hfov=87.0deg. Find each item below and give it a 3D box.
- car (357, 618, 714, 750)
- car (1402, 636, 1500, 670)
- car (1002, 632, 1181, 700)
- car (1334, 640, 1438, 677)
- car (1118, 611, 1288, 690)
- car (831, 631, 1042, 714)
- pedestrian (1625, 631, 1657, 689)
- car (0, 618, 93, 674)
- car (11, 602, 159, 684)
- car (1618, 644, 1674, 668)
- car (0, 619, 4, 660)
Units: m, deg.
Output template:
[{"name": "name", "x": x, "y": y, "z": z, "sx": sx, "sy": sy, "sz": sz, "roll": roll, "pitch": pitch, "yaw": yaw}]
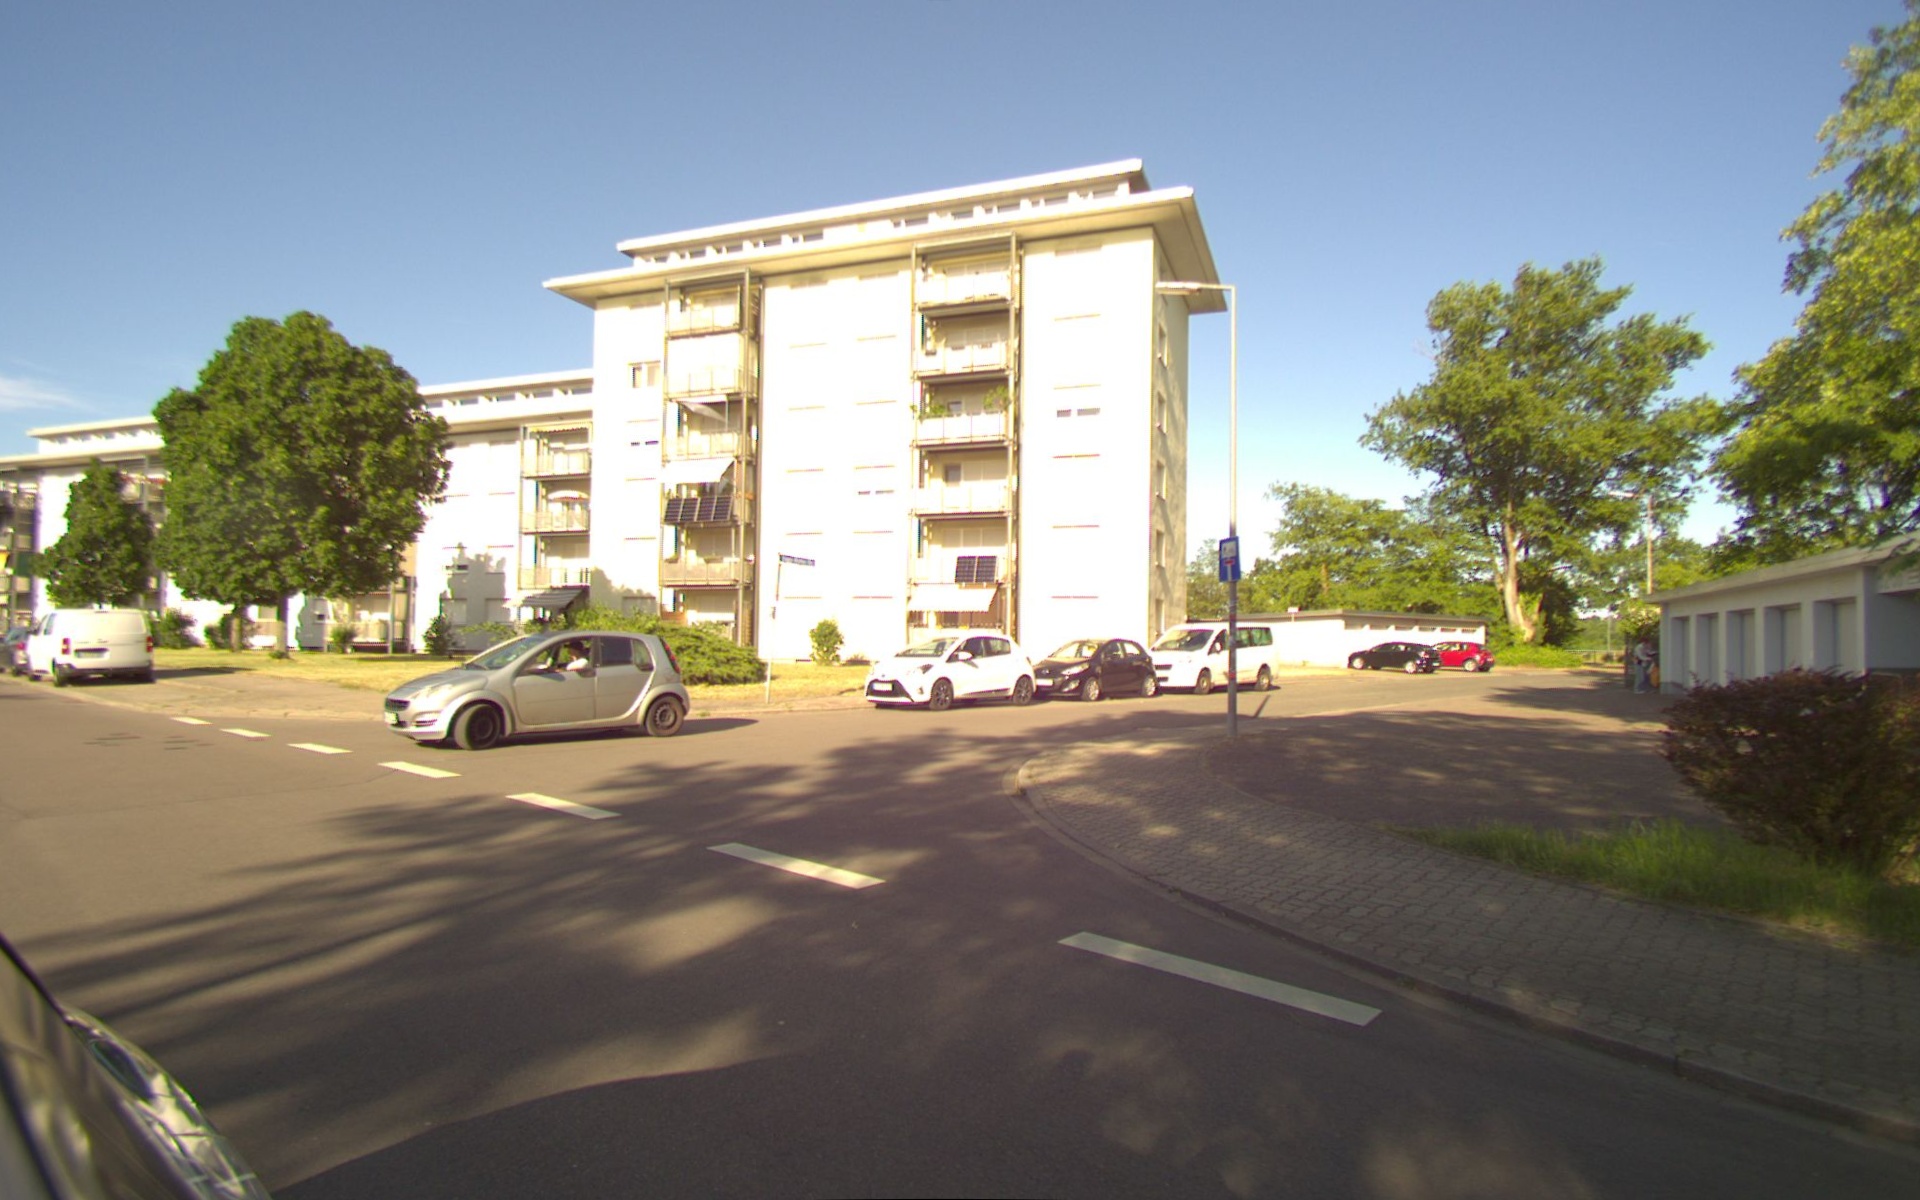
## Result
[{"name": "car", "x": -5.506, "y": 1.028, "z": 13.406, "sx": 3.883, "sy": 1.472, "sz": 1.999, "roll": 3, "pitch": -3, "yaw": -45}, {"name": "car", "x": 24.277, "y": 2.609, "z": 50.119, "sx": 3.998, "sy": 1.608, "sz": 1.973, "roll": -1, "pitch": -3, "yaw": 41}, {"name": "car", "x": 3.238, "y": 1.559, "z": 24.255, "sx": 2.044, "sy": 1.472, "sz": 4.392, "roll": -2, "pitch": -4, "yaw": 44}, {"name": "car", "x": 19.479, "y": 2.641, "z": 46.357, "sx": 3.998, "sy": 1.608, "sz": 1.973, "roll": -2, "pitch": -4, "yaw": 41}, {"name": "car", "x": 6.788, "y": 1.398, "z": 27.912, "sx": 5.046, "sy": 1.966, "sz": 2.238, "roll": 4, "pitch": -4, "yaw": -45}, {"name": "car", "x": -0.394, "y": 1.412, "z": 20.252, "sx": 2.044, "sy": 1.475, "sz": 3.942, "roll": -2, "pitch": -4, "yaw": 44}, {"name": "pedestrian", "x": 19.731, "y": 1.736, "z": 29.327, "sx": 0.545, "sy": 1.666, "sz": 0.539, "roll": 1, "pitch": -2, "yaw": -2}, {"name": "car", "x": -27.533, "y": 1.321, "z": 30.157, "sx": 4.216, "sy": 1.529, "sz": 1.815, "roll": -1, "pitch": -1, "yaw": 39}, {"name": "car", "x": -22.617, "y": 1.048, "z": 26.083, "sx": 5.185, "sy": 1.900, "sz": 1.994, "roll": -1, "pitch": -1, "yaw": 39}, {"name": "car", "x": 49.126, "y": 3.988, "z": 72.548, "sx": 1.981, "sy": 1.592, "sz": 4.152, "roll": 0, "pitch": -3, "yaw": 14}, {"name": "car", "x": -37.803, "y": 1.491, "z": 37.978, "sx": 5.248, "sy": 1.504, "sz": 2.016, "roll": -1, "pitch": -1, "yaw": 38}]
